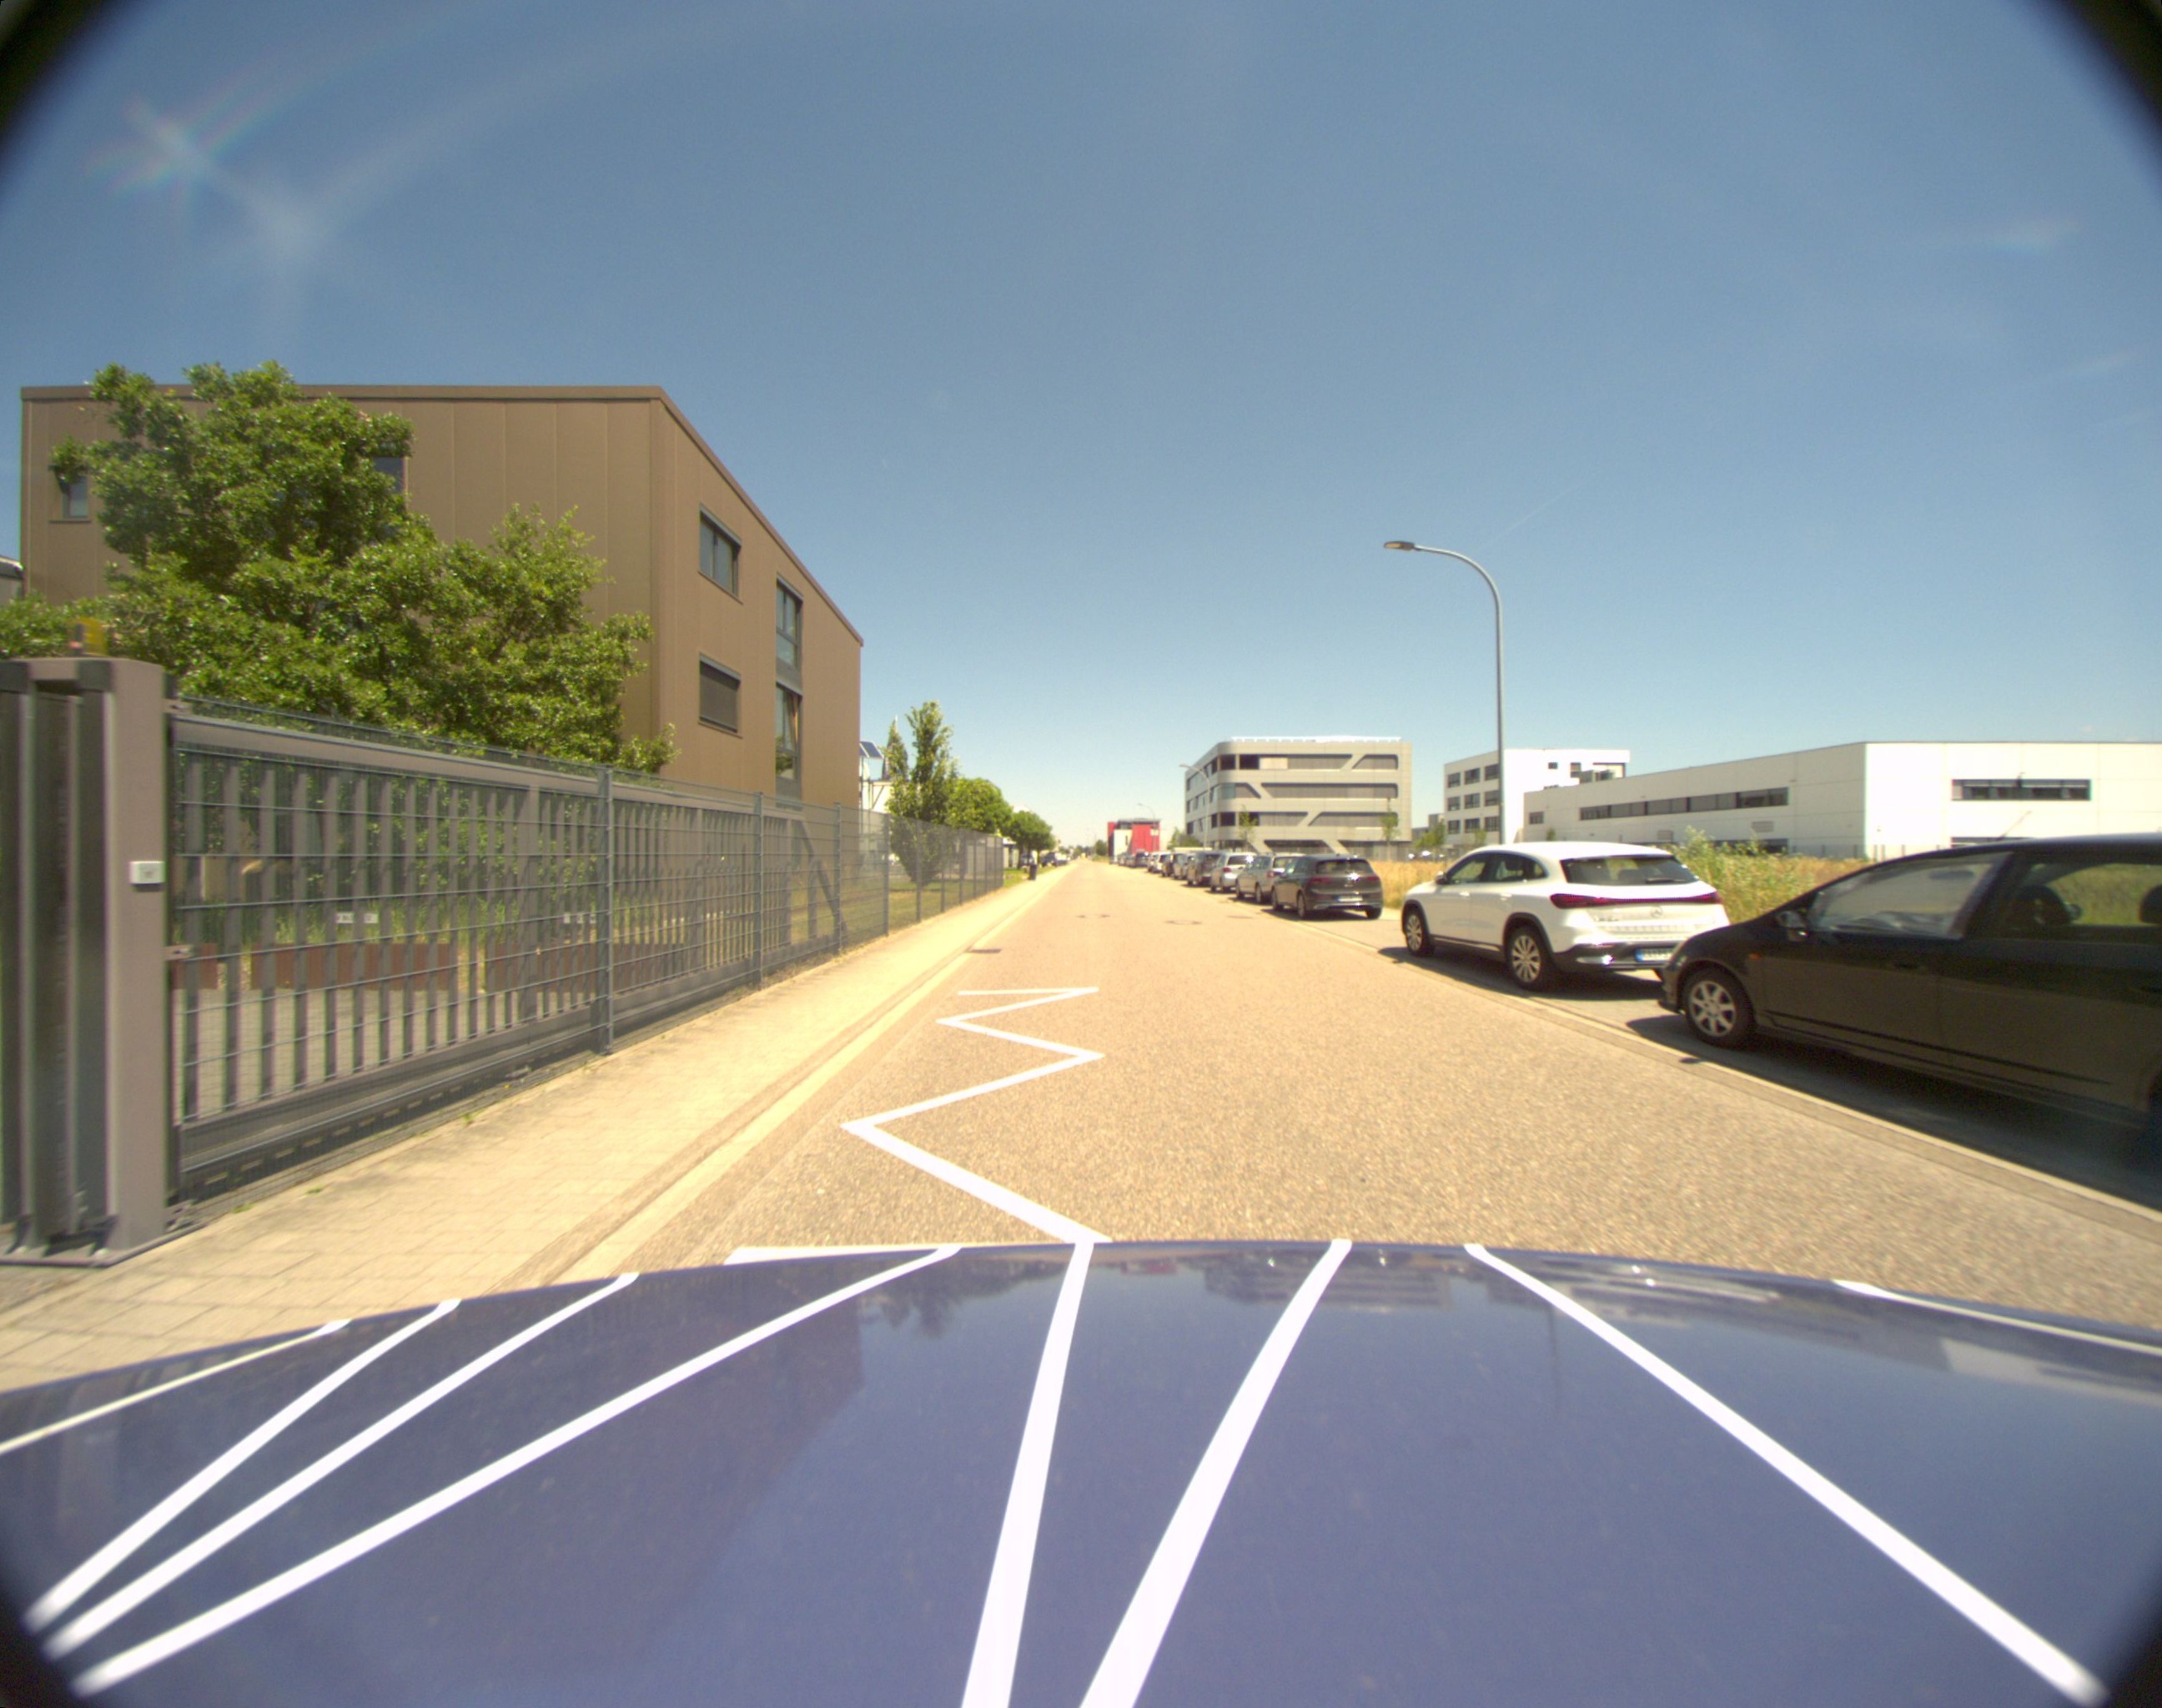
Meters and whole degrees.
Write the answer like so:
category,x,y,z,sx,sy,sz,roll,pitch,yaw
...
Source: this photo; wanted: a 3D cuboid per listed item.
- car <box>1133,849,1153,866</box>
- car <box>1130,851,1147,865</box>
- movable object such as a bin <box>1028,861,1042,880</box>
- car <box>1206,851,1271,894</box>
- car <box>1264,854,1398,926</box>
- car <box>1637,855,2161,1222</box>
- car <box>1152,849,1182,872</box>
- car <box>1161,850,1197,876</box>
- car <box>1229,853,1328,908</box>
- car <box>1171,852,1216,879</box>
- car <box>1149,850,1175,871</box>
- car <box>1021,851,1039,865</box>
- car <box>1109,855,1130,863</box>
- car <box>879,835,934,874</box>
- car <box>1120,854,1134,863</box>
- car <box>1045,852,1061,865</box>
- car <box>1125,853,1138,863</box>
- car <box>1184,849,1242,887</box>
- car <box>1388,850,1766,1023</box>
category,x,y,z,sx,sy,sz,roll,pitch,yaw
car,6.554,0.348,80.666,1.807,1.709,4.622,-1,0,1
car,6.857,0.464,90.967,1.639,1.527,3.657,-1,0,0
movable object such as a bin,-2.438,0.861,40.089,0.553,0.923,0.522,4,1,11
car,5.906,0.651,28.870,1.698,1.516,3.735,-1,0,0
car,5.793,0.754,18.186,1.861,1.472,4.229,-1,0,1
car,5.623,0.821,4.205,1.773,1.547,4.500,-1,1,0
car,6.258,0.464,55.528,1.791,1.647,3.768,-1,0,0
car,6.140,0.546,48.018,1.767,1.508,4.379,-1,0,0
car,5.952,0.731,23.512,1.779,1.472,4.815,-1,0,0
car,6.257,0.603,42.717,1.768,1.442,4.199,-1,0,-2
car,6.400,0.493,60.597,1.791,1.533,4.365,-1,0,3
car,-6.004,0.451,89.348,1.727,1.623,4.022,-1,0,1
car,7.662,1.008,150.522,1.705,1.402,4.795,-4,-3,35
car,-12.172,0.000,53.561,2.135,2.479,7.025,2,0,1
car,7.048,0.673,116.744,1.704,1.378,3.937,0,-1,-2
car,-3.294,0.509,89.218,1.696,1.419,4.246,-1,0,1
car,7.111,0.621,107.922,1.688,1.378,4.640,0,-1,1
car,5.880,0.578,34.308,1.795,1.597,4.462,-1,0,0
car,5.566,0.768,9.341,1.773,1.583,4.359,-1,1,0
